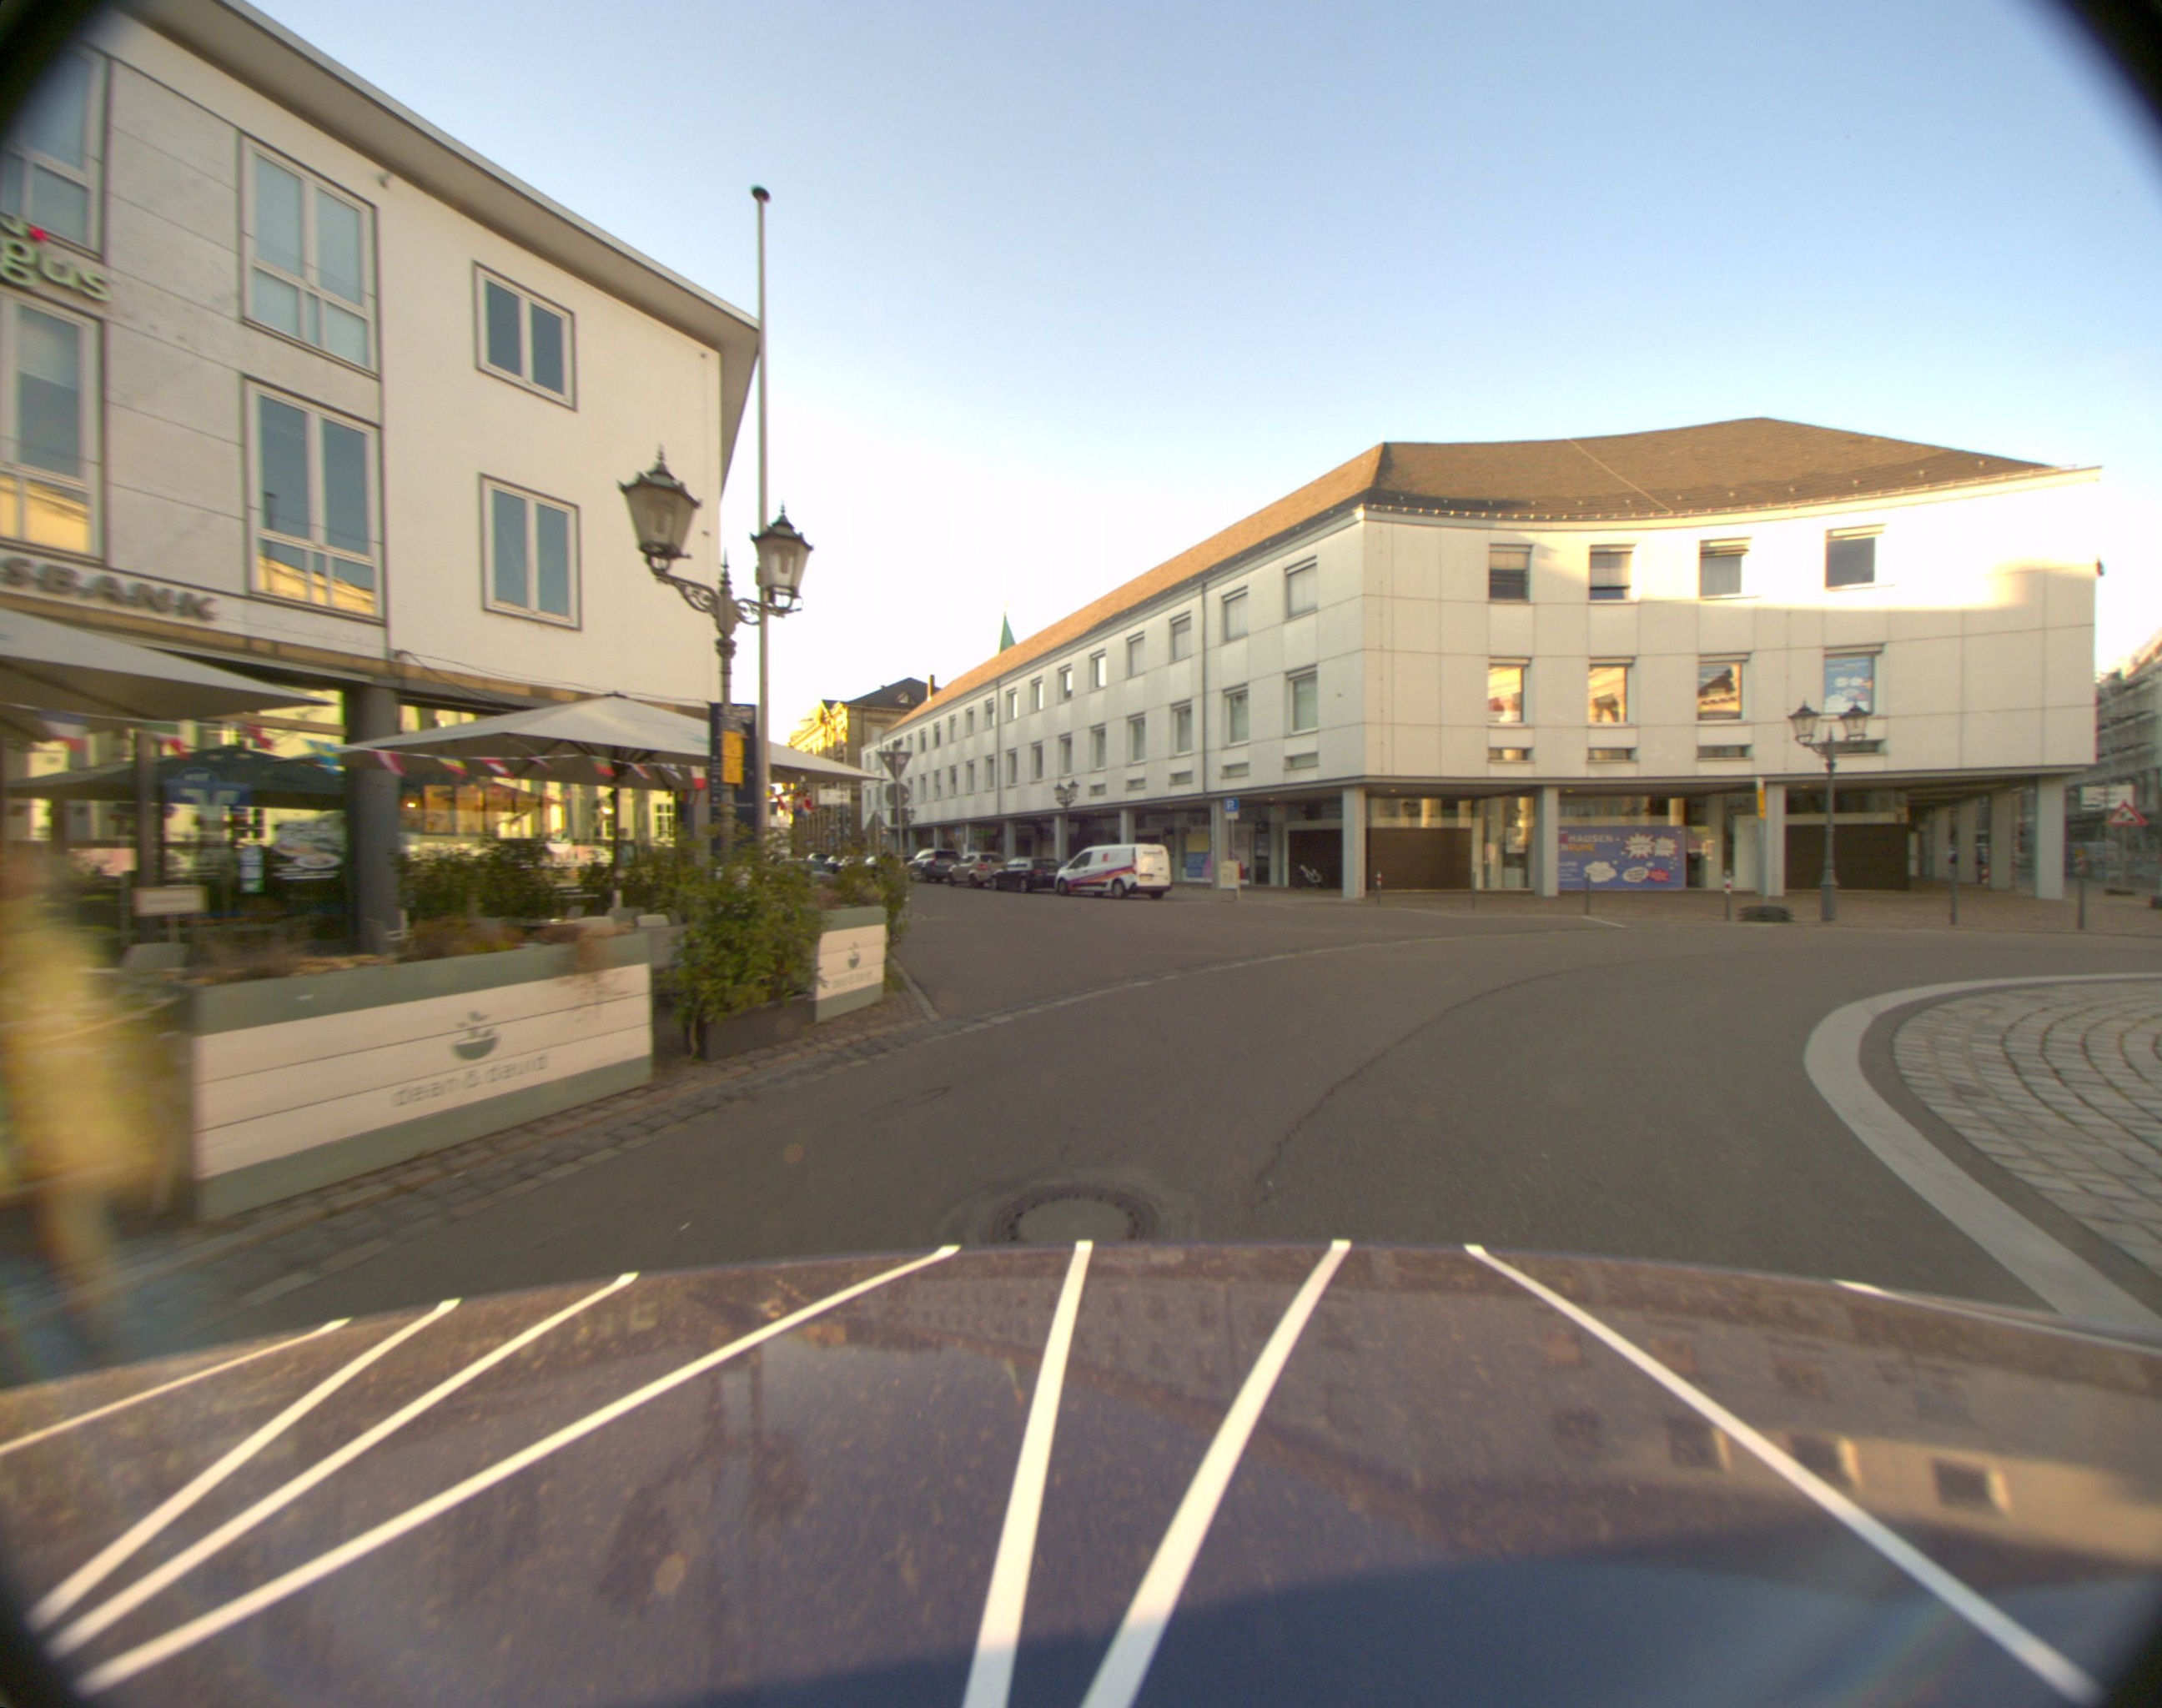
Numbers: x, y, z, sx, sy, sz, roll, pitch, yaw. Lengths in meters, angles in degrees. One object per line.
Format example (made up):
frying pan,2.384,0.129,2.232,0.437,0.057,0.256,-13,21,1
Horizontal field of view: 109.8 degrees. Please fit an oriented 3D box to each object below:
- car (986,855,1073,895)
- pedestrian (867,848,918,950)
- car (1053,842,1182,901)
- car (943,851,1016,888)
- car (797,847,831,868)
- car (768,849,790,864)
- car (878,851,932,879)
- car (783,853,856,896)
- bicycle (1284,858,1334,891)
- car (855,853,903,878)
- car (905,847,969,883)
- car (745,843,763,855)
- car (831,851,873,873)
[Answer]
car,-2.120,0.789,30.382,1.785,1.416,3.950,-1,1,-32
pedestrian,-3.247,0.751,13.081,0.605,1.691,0.712,-1,2,-36
car,1.155,0.522,26.077,2.026,1.815,4.447,-1,1,-37
car,-4.619,0.663,34.236,1.785,1.506,3.950,-1,1,-32
car,-22.897,0.271,65.125,1.785,1.657,4.317,-1,1,-32
car,-34.514,0.298,86.770,1.785,1.657,4.317,-1,1,-30
car,-10.424,0.599,44.867,1.785,1.483,4.317,-1,1,-32
car,-9.878,0.711,28.554,1.785,1.416,3.951,-1,1,-31
bicycle,8.358,0.720,27.929,0.482,1.149,1.944,-1,1,-31
car,-13.130,0.692,49.114,1.785,1.483,4.317,-1,1,-32
car,-7.541,0.531,39.511,1.785,1.718,4.317,-1,1,-32
car,-44.255,-0.671,102.743,1.785,1.657,4.317,-1,1,-30
car,-16.269,0.538,53.861,1.785,1.483,4.317,-1,1,-32
